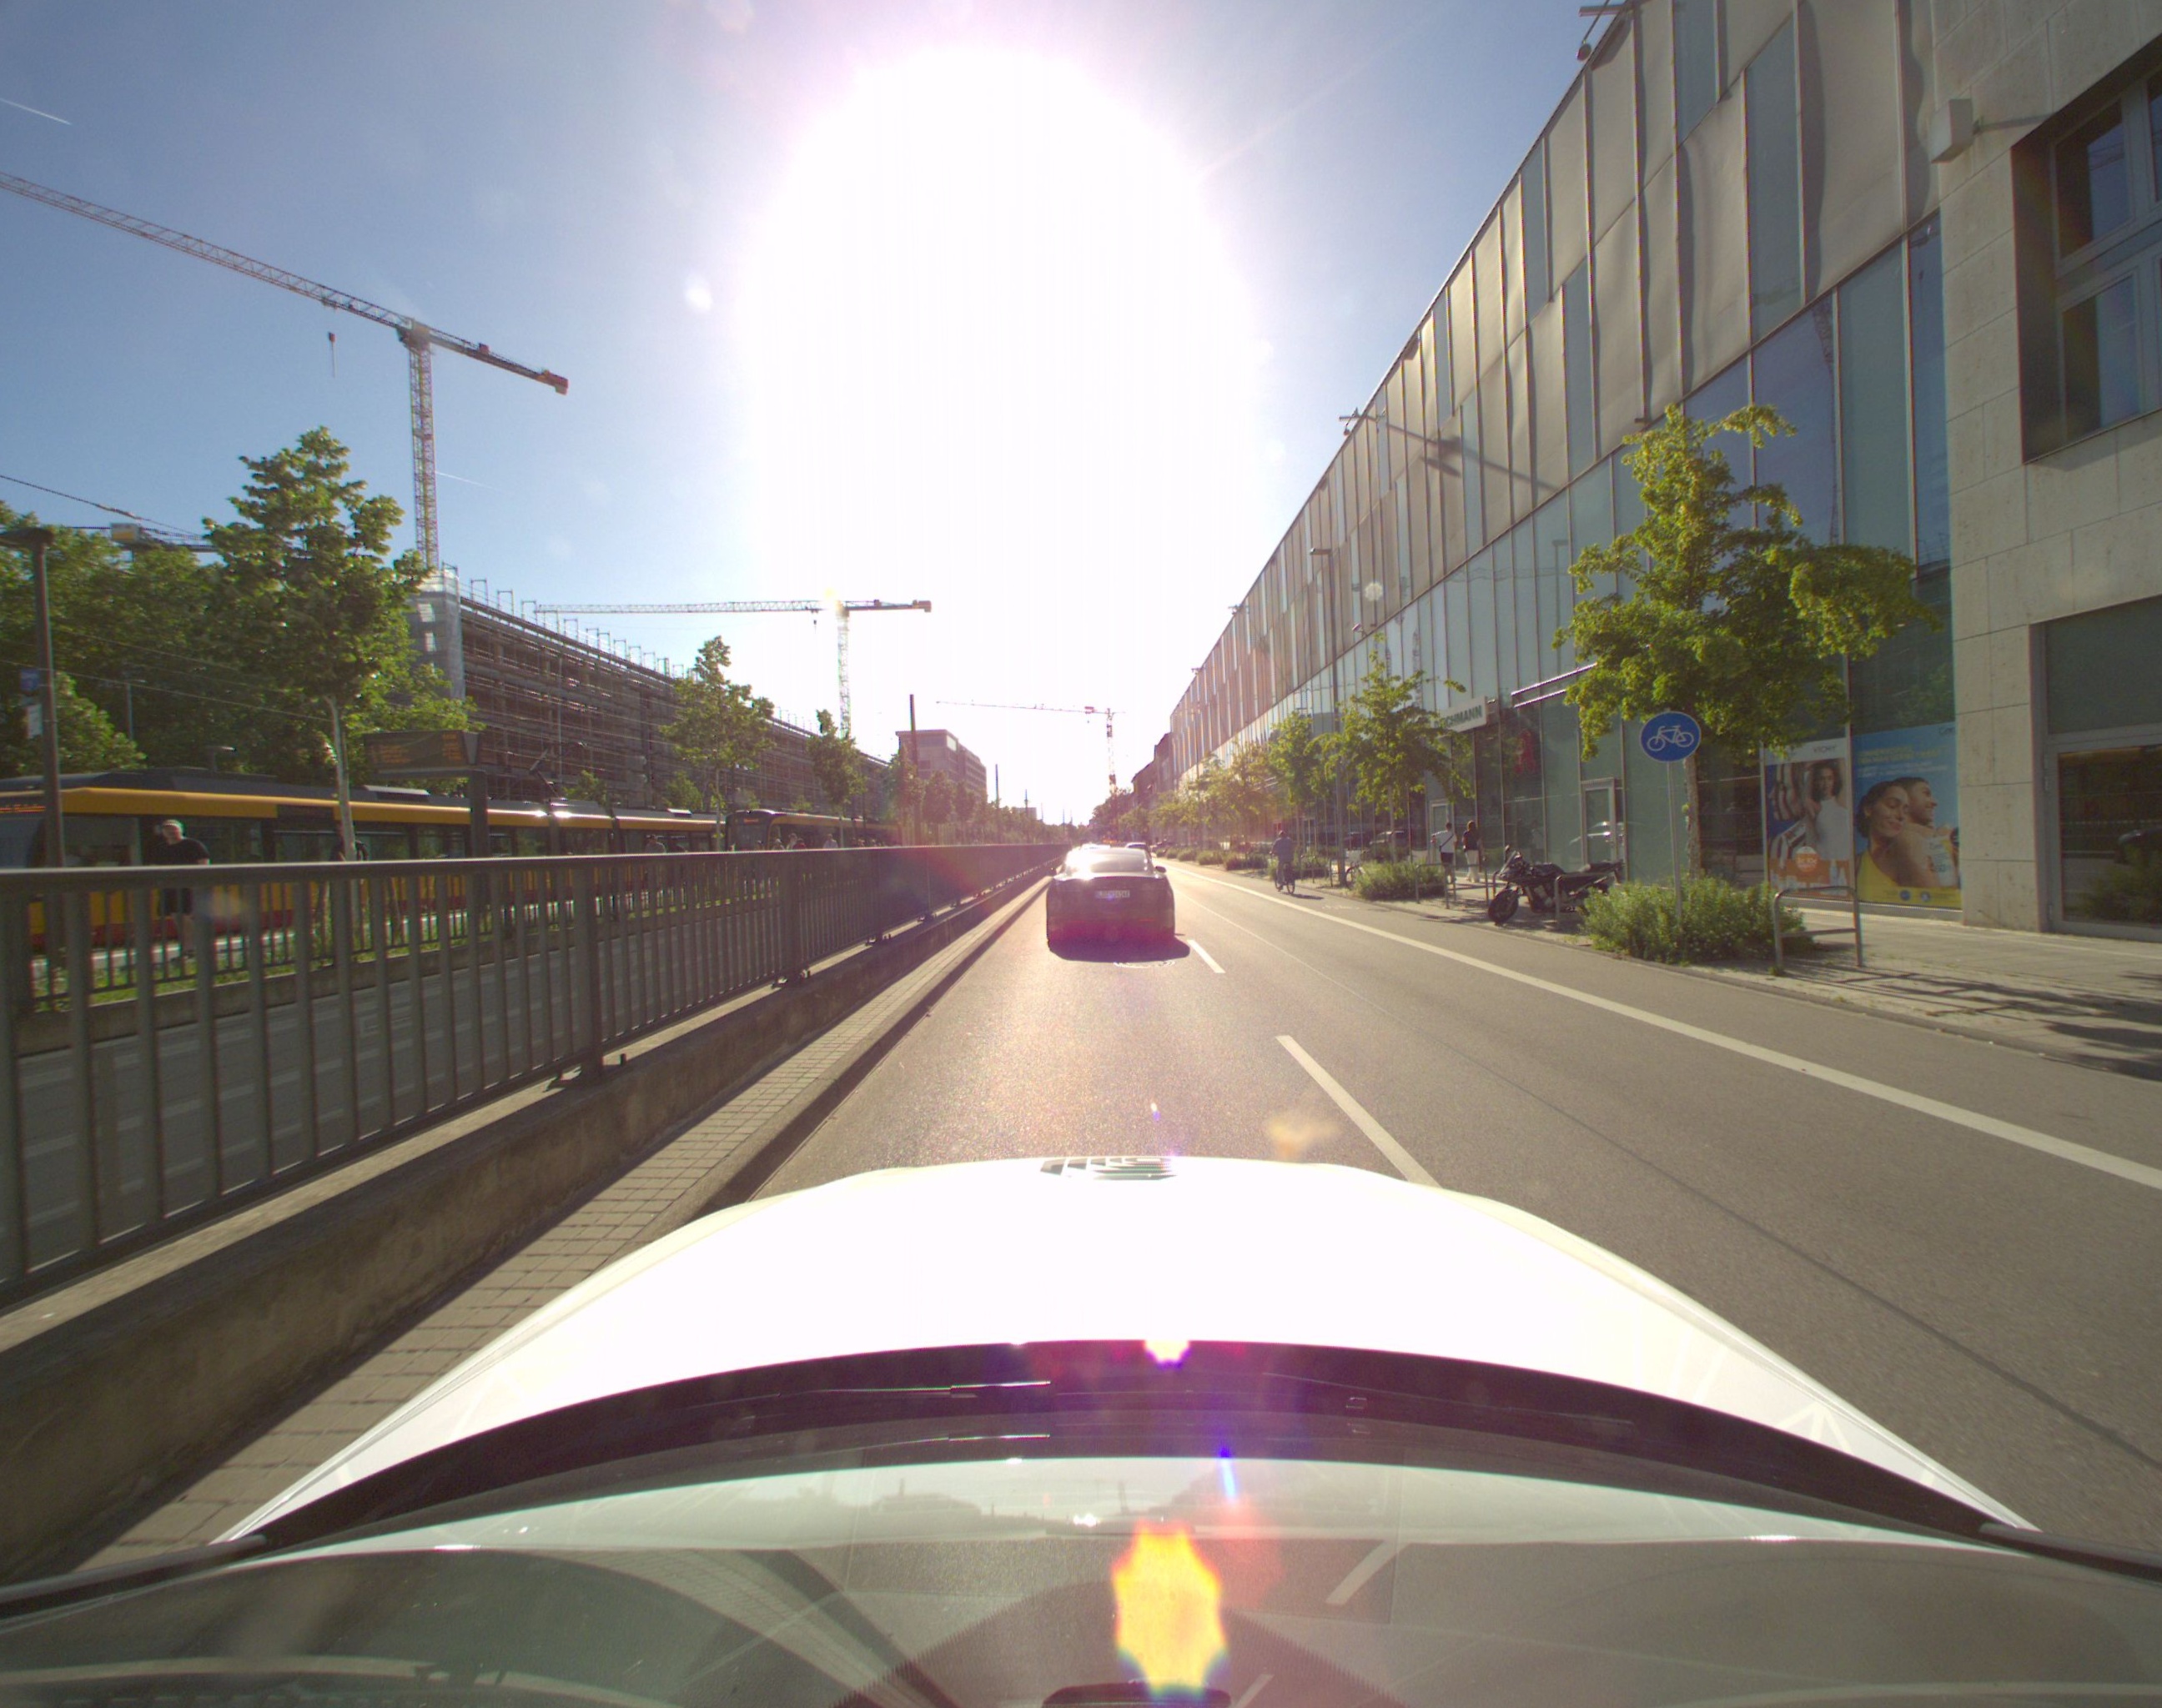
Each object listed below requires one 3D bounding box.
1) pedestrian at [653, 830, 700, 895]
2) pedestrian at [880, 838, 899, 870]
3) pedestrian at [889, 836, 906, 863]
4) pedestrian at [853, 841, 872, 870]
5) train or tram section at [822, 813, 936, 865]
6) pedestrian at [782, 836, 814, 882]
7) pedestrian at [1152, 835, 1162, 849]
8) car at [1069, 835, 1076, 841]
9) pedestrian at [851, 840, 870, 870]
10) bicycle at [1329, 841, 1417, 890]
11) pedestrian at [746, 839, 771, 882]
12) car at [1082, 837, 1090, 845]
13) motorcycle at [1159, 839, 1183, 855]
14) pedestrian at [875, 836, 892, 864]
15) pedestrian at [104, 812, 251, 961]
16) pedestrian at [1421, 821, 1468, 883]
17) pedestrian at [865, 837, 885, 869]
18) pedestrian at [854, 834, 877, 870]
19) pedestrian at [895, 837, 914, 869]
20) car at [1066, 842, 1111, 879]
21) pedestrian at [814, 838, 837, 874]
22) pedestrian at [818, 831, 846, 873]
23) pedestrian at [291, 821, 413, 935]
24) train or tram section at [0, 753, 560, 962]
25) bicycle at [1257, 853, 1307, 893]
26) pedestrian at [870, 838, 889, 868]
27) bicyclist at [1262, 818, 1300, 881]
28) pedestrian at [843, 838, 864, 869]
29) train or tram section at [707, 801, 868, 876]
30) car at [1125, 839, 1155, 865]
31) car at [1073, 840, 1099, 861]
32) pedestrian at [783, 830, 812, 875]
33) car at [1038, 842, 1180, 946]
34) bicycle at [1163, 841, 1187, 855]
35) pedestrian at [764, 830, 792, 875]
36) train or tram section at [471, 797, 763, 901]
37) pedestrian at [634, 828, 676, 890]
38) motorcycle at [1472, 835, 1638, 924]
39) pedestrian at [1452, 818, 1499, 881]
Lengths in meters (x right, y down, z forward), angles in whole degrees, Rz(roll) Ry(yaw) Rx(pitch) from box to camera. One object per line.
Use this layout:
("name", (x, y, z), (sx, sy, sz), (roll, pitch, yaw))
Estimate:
("pedestrian", (-11.286, 0.221, 22.766), (0.789, 1.775, 0.978), (-1, 2, -2))
("pedestrian", (-10.109, -0.021, 42.994), (0.739, 1.628, 0.862), (-2, 1, 2))
("pedestrian", (-11.139, -0.288, 49.521), (0.739, 1.628, 0.862), (-2, 1, 2))
("pedestrian", (-12.526, 0.079, 46.697), (0.739, 1.628, 0.862), (-2, 1, 2))
("train or tram section", (-14.630, -1.145, 62.178), (2.860, 3.279, 22.148), (-1, 1, 1))
("pedestrian", (-10.287, 0.168, 29.629), (0.739, 1.628, 0.862), (-2, 1, 2))
("pedestrian", (10.562, -1.711, 113.017), (1.092, 1.863, 1.522), (-3, 1, -1))
("car", (-2.532, -4.602, 237.697), (1.987, 1.684, 3.999), (-1, 0, 0))
("pedestrian", (-12.143, 0.056, 44.813), (0.739, 1.628, 0.862), (-2, 1, 2))
("bicycle", (8.027, 0.313, 22.484), (2.074, 1.205, 0.952), (-4, 1, 7))
("pedestrian", (-11.727, 0.237, 29.618), (0.645, 1.512, 0.588), (-1, 1, -2))
("car", (1.149, -3.273, 198.096), (1.807, 1.809, 4.041), (-2, 1, 2))
("motorcycle", (8.540, -0.663, 77.399), (2.054, 1.353, 0.656), (-5, 0, 23))
("pedestrian", (-11.995, -0.245, 49.581), (0.739, 1.628, 0.862), (-2, 1, 2))
("pedestrian", (-11.286, 0.373, 10.214), (0.701, 1.775, 0.959), (-1, 2, -2))
("pedestrian", (10.036, -0.067, 22.486), (0.819, 1.658, 0.899), (-2, 1, -3))
("pedestrian", (-10.617, -0.071, 41.942), (0.739, 1.628, 0.862), (-2, 1, 2))
("pedestrian", (-10.064, -0.087, 38.002), (0.739, 1.628, 0.862), (-2, 1, 2))
("pedestrian", (-9.331, -0.062, 43.014), (0.739, 1.628, 0.862), (-2, 1, 2))
("car", (0.342, 0.232, 33.747), (1.710, 1.319, 4.002), (-2, 1, 2))
("pedestrian", (-12.409, 0.085, 39.545), (0.739, 1.694, 0.862), (-2, 1, 2))
("pedestrian", (-11.368, -0.085, 37.213), (0.884, 1.850, 1.007), (-2, 1, 1))
("pedestrian", (-11.873, 0.353, 13.313), (0.872, 1.775, 1.188), (-1, 2, -2))
("train or tram section", (-18.194, -0.050, 19.471), (2.860, 3.309, 13.075), (-1, 1, 1))
("bicycle", (5.743, 0.513, 23.427), (0.727, 0.983, 2.331), (-3, 2, -3))
("pedestrian", (-11.312, -0.052, 45.850), (0.739, 1.628, 0.947), (-2, 1, 2))
("bicyclist", (5.714, -0.138, 23.285), (0.723, 1.736, 0.997), (-3, 1, -3))
("pedestrian", (-11.983, -0.029, 42.894), (0.739, 1.628, 0.862), (-2, 1, 2))
("train or tram section", (-14.887, -0.815, 43.441), (2.860, 3.279, 15.188), (-1, 1, 1))
("car", (3.741, -0.159, 52.284), (1.778, 1.546, 4.041), (-2, 1, 2))
("car", (0.460, -0.301, 68.366), (1.880, 1.595, 4.005), (-2, 1, 4))
("pedestrian", (-11.914, -0.078, 34.268), (0.767, 1.810, 1.031), (-3, 1, 0))
("car", (0.525, 0.540, 13.835), (1.991, 1.434, 4.417), (-2, 1, 3))
("bicycle", (8.395, -0.516, 72.760), (1.881, 1.151, 0.669), (-4, 1, -10))
("pedestrian", (-12.704, -0.060, 34.188), (0.669, 1.810, 1.075), (-3, 1, 0))
("train or tram section", (-17.945, -0.306, 34.015), (2.838, 3.321, 15.969), (0, 1, 1))
("pedestrian", (-12.542, 0.139, 23.991), (0.759, 1.775, 0.826), (-1, 2, -2))
("motorcycle", (7.871, 0.411, 13.619), (2.179, 1.324, 0.904), (-3, 1, 4))
("pedestrian", (10.864, -0.136, 22.446), (0.705, 1.658, 0.899), (-4, 1, -3))
